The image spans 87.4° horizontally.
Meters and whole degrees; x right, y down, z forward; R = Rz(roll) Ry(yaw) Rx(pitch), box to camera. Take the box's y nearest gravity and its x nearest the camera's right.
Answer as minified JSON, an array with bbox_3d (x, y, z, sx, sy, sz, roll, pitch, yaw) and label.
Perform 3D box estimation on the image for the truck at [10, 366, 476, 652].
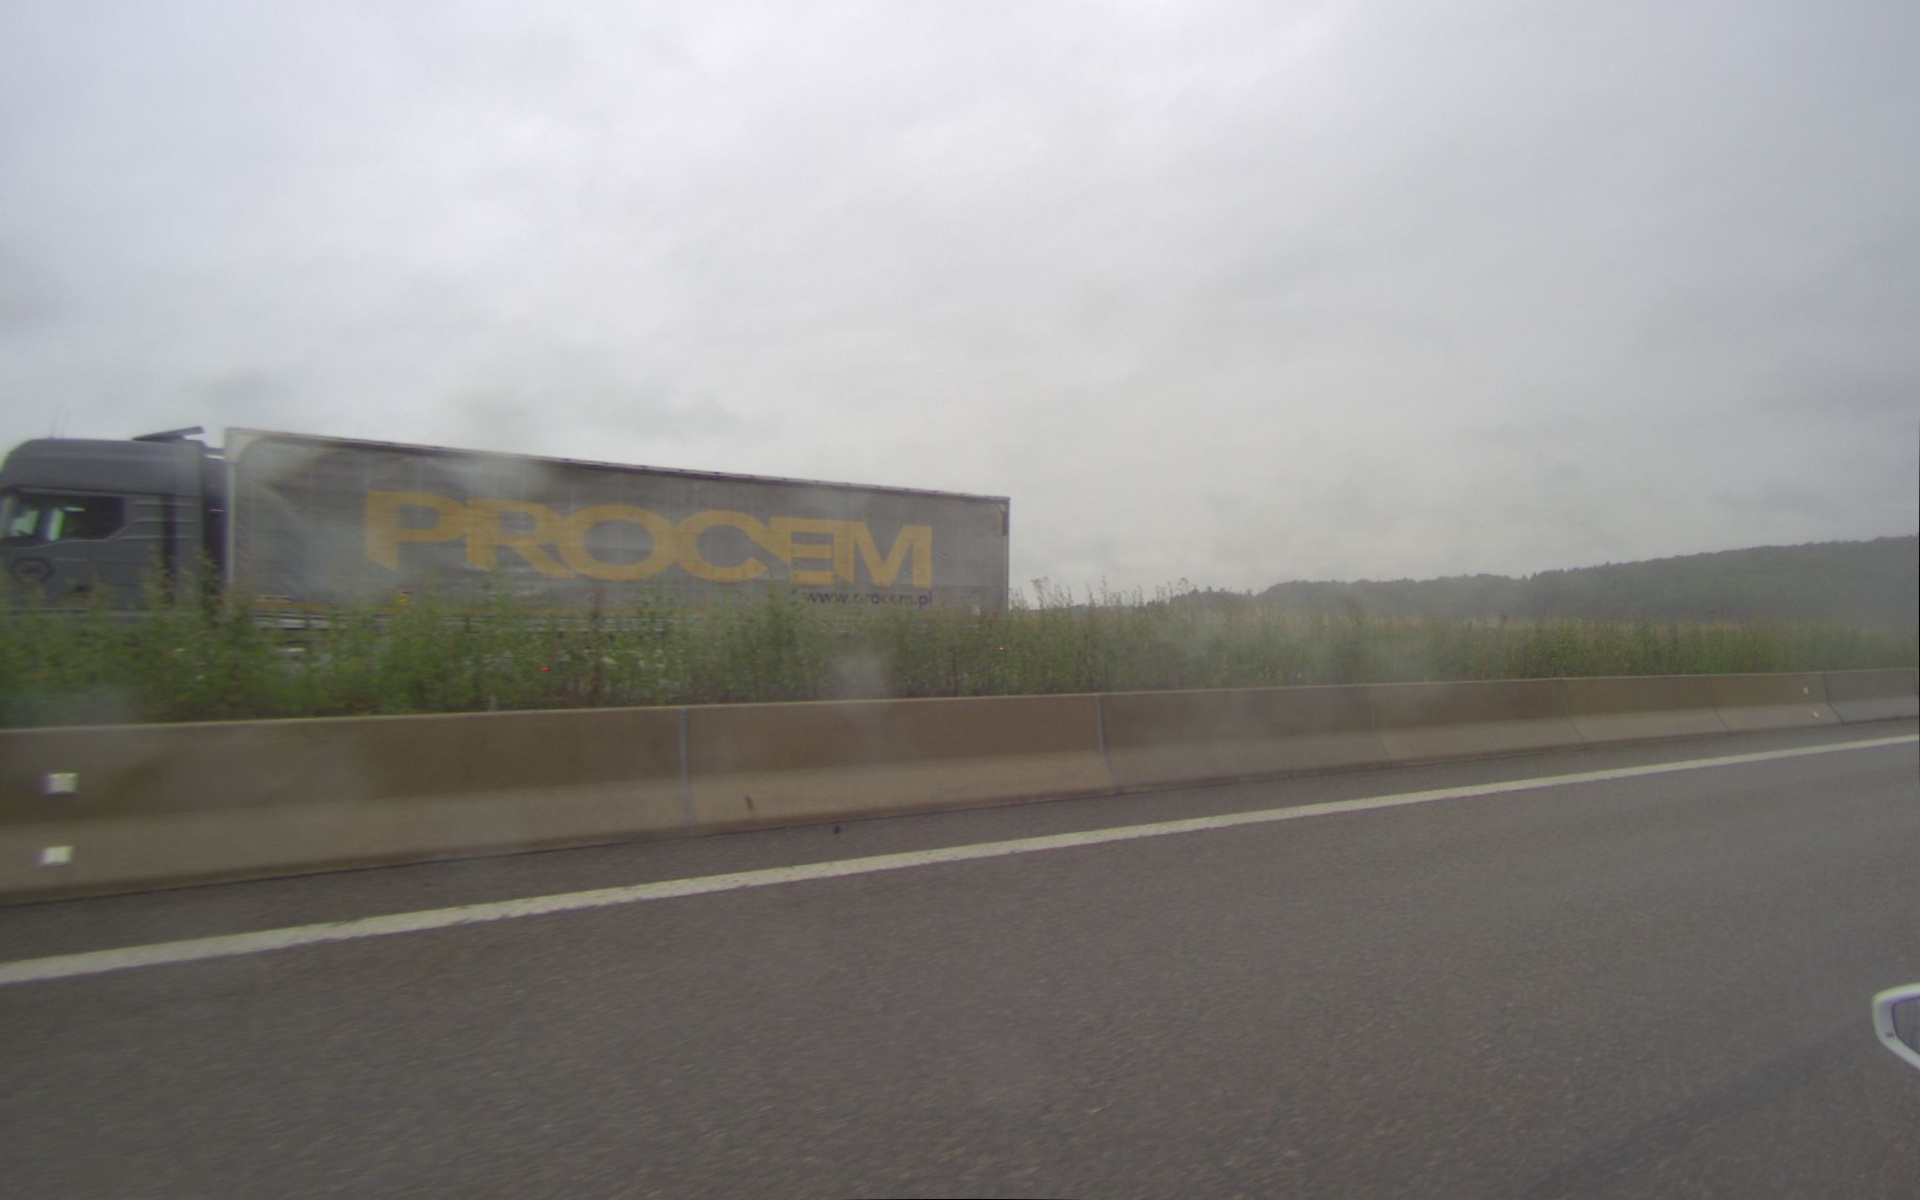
[{"bbox_3d":[-10.825,-1.145,15.896,5.400,3.669,2.935,3,-1,-30],"label":"truck"}]

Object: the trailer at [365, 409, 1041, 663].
[{"bbox_3d":[-4.373,-0.787,19.693,12.346,3.687,2.977,3,-1,-31],"label":"trailer"}]
